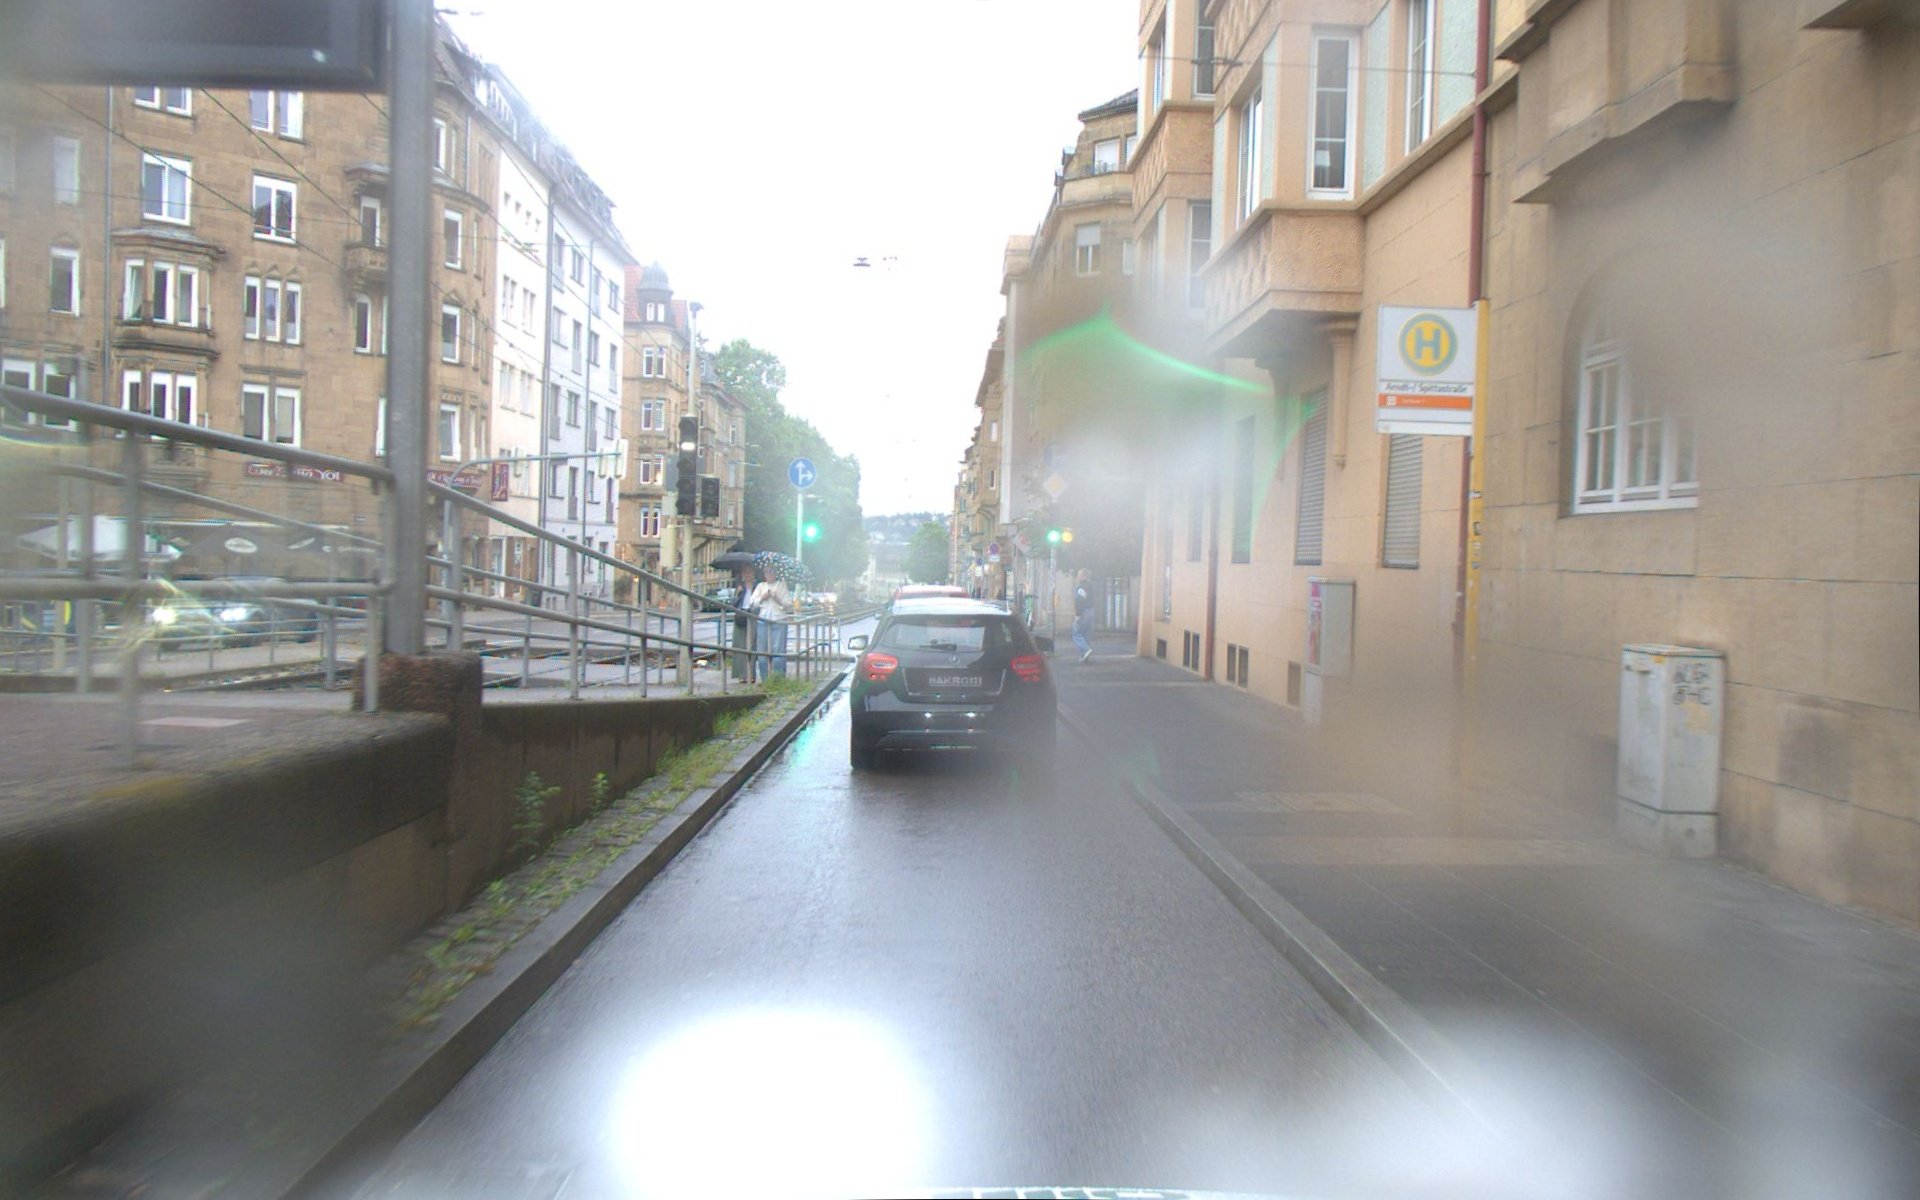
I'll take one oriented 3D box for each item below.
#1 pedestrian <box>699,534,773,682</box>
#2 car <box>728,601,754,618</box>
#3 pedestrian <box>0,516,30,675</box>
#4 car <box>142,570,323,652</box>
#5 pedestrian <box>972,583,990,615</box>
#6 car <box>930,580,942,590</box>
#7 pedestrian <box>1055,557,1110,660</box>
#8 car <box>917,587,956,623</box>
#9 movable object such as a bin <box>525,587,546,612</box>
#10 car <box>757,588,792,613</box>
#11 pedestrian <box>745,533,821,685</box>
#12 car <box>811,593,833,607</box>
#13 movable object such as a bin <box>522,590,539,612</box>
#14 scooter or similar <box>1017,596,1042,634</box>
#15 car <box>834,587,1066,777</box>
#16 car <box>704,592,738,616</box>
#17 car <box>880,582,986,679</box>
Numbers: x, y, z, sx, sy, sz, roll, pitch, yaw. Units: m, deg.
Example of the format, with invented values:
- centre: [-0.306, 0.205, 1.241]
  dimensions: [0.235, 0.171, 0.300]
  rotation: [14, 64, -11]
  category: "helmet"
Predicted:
- centre: [-3.188, 0.106, 23.636]
  dimensions: [0.879, 2.049, 0.947]
  rotation: [2, 0, -1]
  category: "pedestrian"
- centre: [-16.941, 0.728, 127.977]
  dimensions: [1.537, 1.339, 3.481]
  rotation: [0, 0, 1]
  category: "car"
- centre: [-11.422, -0.062, 19.431]
  dimensions: [0.500, 1.850, 0.799]
  rotation: [2, 0, -1]
  category: "pedestrian"
- centre: [-14.702, 0.200, 33.720]
  dimensions: [1.610, 1.523, 4.763]
  rotation: [1, 0, -1]
  category: "car"
- centre: [1.186, -0.052, 94.129]
  dimensions: [0.926, 1.800, 1.014]
  rotation: [0, 0, -3]
  category: "pedestrian"
- centre: [-3.297, -2.044, 226.994]
  dimensions: [1.581, 1.340, 3.999]
  rotation: [2, 0, -1]
  category: "car"
- centre: [2.321, 0.160, 31.307]
  dimensions: [0.945, 1.872, 0.903]
  rotation: [-3, 0, 4]
  category: "pedestrian"
- centre: [-1.078, 0.201, 75.245]
  dimensions: [1.729, 1.586, 4.744]
  rotation: [0, 0, -1]
  category: "car"
- centre: [-19.062, -0.029, 74.289]
  dimensions: [0.698, 1.092, 0.687]
  rotation: [4, 0, -2]
  category: "movable object such as a bin"
- centre: [-13.064, 0.054, 116.886]
  dimensions: [1.953, 1.656, 5.251]
  rotation: [0, -1, -1]
  category: "car"
- centre: [-2.454, 0.121, 23.037]
  dimensions: [0.907, 2.049, 0.947]
  rotation: [2, 0, -1]
  category: "pedestrian"
- centre: [-14.252, 0.020, 171.073]
  dimensions: [1.908, 1.421, 4.273]
  rotation: [-1, 0, -1]
  category: "car"
- centre: [-19.101, 0.052, 73.577]
  dimensions: [0.582, 0.927, 0.560]
  rotation: [4, 0, -2]
  category: "movable object such as a bin"
- centre: [2.304, 0.485, 54.899]
  dimensions: [0.625, 1.231, 1.551]
  rotation: [0, 0, -5]
  category: "scooter or similar"
- centre: [-0.054, 0.646, 15.222]
  dimensions: [1.828, 1.477, 4.000]
  rotation: [1, 0, 1]
  category: "car"
- centre: [-16.310, 0.257, 112.886]
  dimensions: [1.687, 1.568, 3.934]
  rotation: [0, 0, 1]
  category: "car"
- centre: [-0.437, 0.471, 27.753]
  dimensions: [1.616, 1.477, 4.000]
  rotation: [1, 0, 0]
  category: "car"
